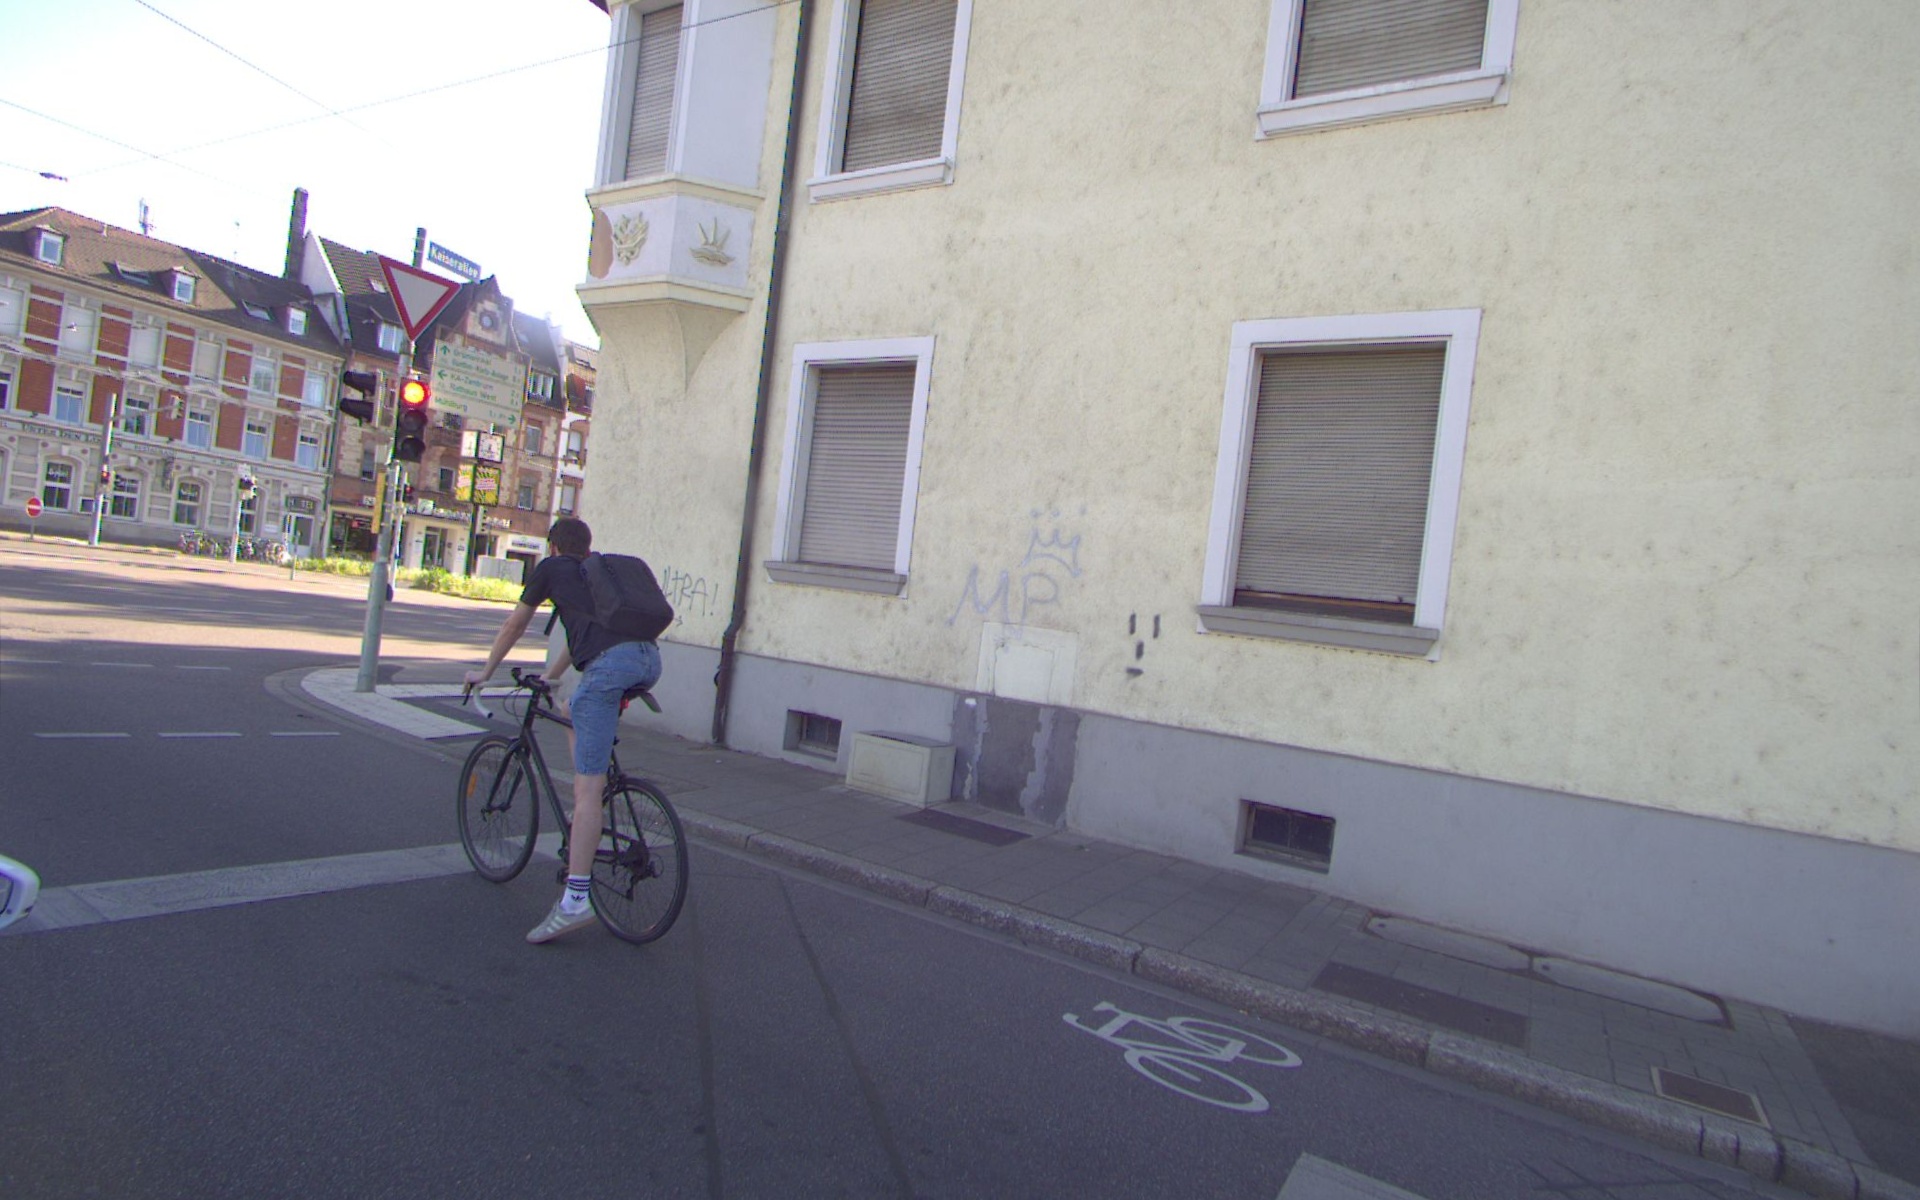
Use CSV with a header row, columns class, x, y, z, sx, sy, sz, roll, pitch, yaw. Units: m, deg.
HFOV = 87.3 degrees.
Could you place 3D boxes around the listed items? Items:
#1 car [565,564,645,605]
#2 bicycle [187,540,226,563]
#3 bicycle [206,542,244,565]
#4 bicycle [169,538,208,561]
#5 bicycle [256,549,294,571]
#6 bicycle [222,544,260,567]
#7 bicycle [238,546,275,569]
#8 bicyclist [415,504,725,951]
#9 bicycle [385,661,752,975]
class,x,y,z,sx,sy,sz,roll,pitch,yaw
car,-23.023,-0.991,65.331,1.968,2.038,4.430,7,-1,34
bicycle,-34.563,-2.225,46.151,2.125,0.850,0.659,6,-2,33
bicycle,-34.190,-2.151,46.772,2.125,0.850,0.659,6,-2,33
bicycle,-34.880,-2.294,45.484,2.125,0.850,0.659,6,-2,33
bicycle,-33.113,-1.936,48.604,2.125,0.850,0.659,6,-2,33
bicycle,-33.856,-2.083,47.369,2.125,0.850,0.659,6,-2,33
bicycle,-33.501,-2.015,47.899,2.125,0.850,0.659,6,-2,33
bicyclist,-1.752,0.498,4.493,1.098,1.722,0.573,7,0,32
bicycle,-1.800,0.882,4.514,1.721,0.982,0.519,7,0,32
